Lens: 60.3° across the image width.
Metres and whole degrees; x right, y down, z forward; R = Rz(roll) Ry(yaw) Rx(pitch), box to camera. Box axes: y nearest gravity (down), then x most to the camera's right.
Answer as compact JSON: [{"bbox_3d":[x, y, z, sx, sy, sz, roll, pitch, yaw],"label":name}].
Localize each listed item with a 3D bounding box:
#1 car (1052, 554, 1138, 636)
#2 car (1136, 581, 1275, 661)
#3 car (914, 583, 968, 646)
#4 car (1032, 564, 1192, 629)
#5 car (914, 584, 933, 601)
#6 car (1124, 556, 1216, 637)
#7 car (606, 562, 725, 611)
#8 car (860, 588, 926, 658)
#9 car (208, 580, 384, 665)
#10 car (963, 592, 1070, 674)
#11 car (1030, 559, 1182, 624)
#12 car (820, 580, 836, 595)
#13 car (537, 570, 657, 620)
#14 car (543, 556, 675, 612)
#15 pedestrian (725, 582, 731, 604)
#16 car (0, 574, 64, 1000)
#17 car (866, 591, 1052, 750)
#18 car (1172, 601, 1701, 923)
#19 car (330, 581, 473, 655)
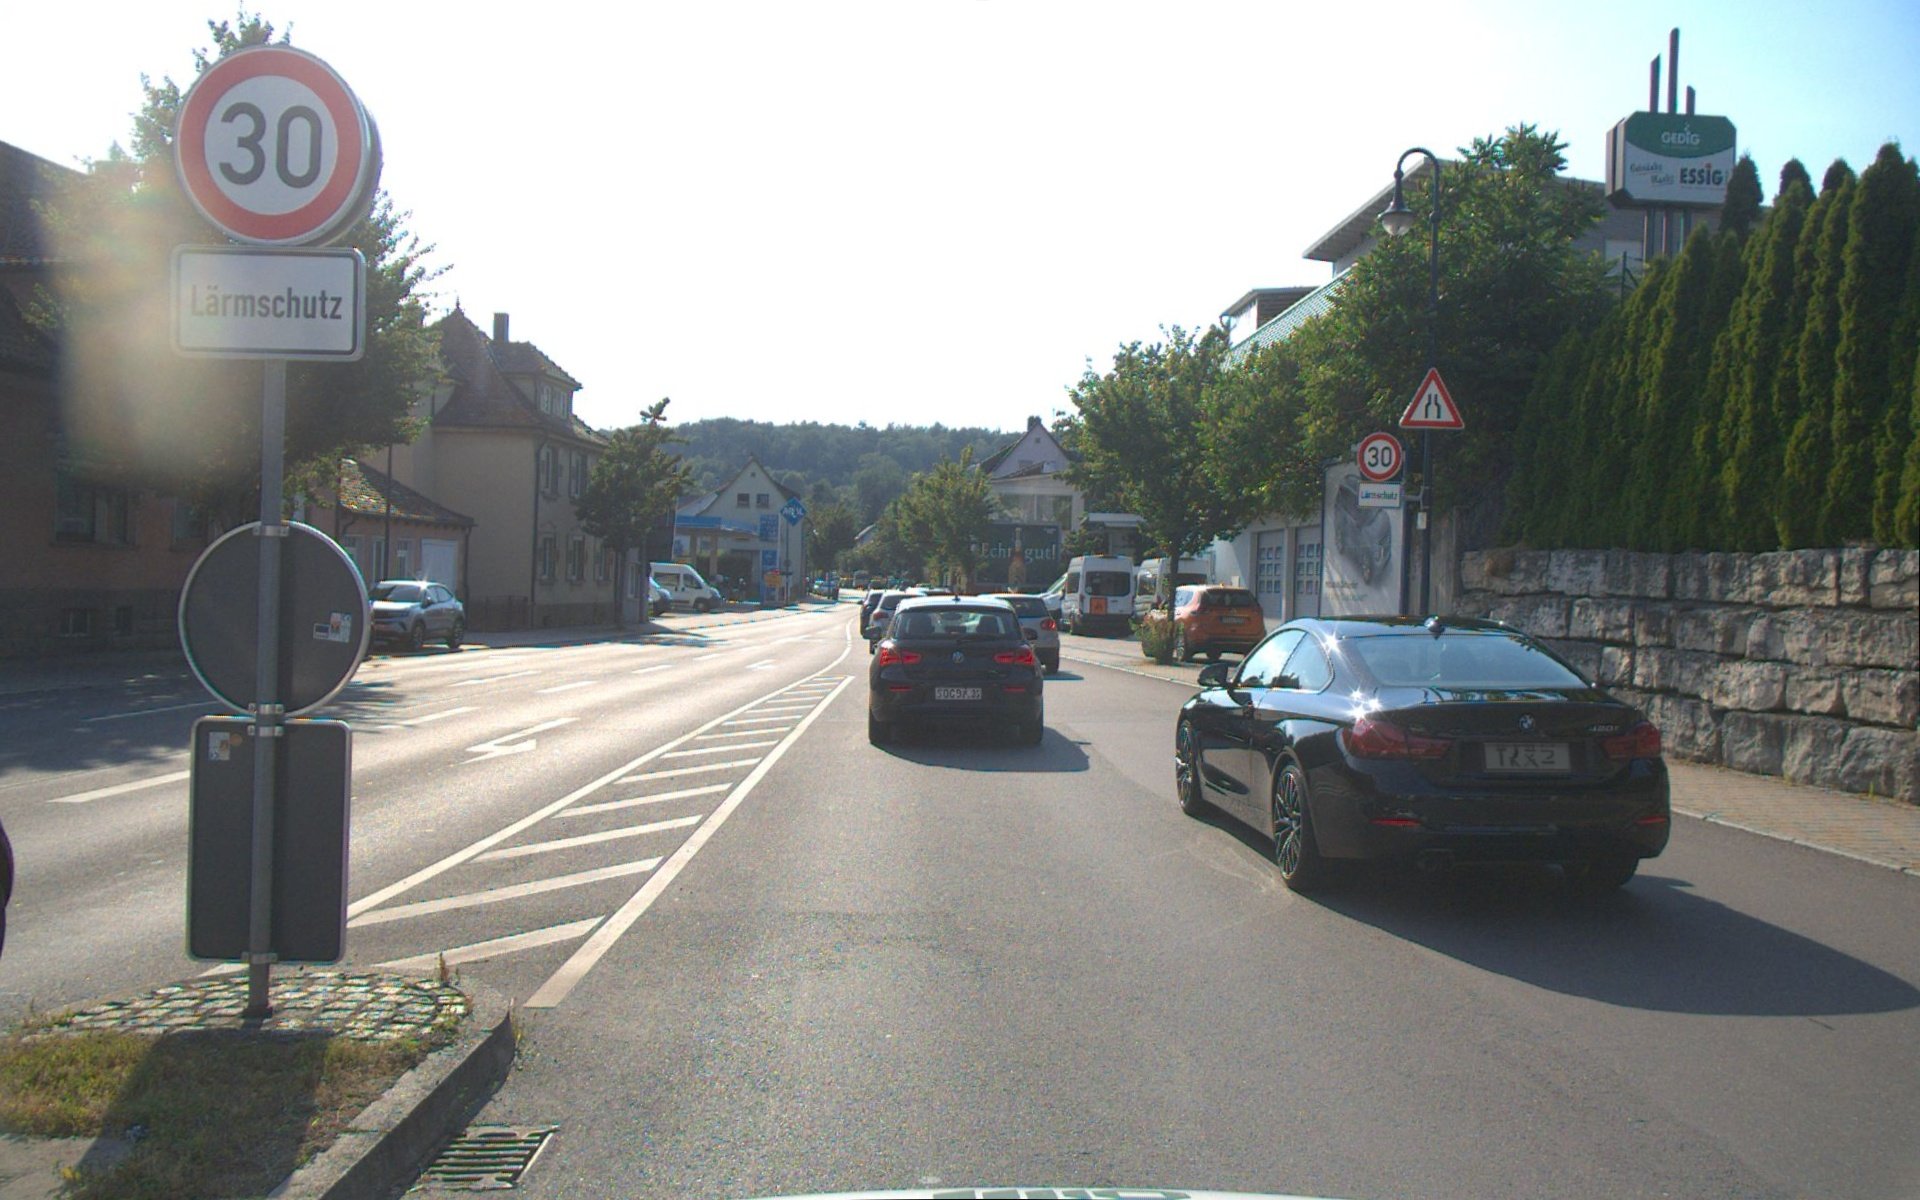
[{"bbox_3d":[4.738,-0.221,59.060,2.107,2.727,6.598,1,1,-4],"label":"car"},{"bbox_3d":[5.464,0.432,37.410,1.801,1.678,4.528,1,0,-10],"label":"car"},{"bbox_3d":[-0.562,0.410,50.416,1.570,1.798,3.411,1,1,0],"label":"car"},{"bbox_3d":[5.847,-0.139,64.126,5.925,2.404,2.042,1,1,-5],"label":"car"},{"bbox_3d":[-3.456,-0.709,155.755,1.565,1.511,3.472,1,1,-3],"label":"car"},{"bbox_3d":[7.499,-0.175,59.726,2.070,2.769,6.438,1,1,-4],"label":"car"},{"bbox_3d":[-15.952,-0.742,89.710,6.035,2.487,2.248,2,1,-2],"label":"car"},{"bbox_3d":[-1.627,0.536,41.281,1.559,1.628,3.893,1,1,-1],"label":"car"},{"bbox_3d":[-13.273,0.420,33.329,1.631,1.513,4.002,3,0,4],"label":"car"},{"bbox_3d":[1.039,0.597,32.033,1.719,1.438,3.419,1,1,-4],"label":"car"},{"bbox_3d":[5.911,-0.361,67.305,5.925,2.560,2.042,1,1,-5],"label":"car"},{"bbox_3d":[-13.426,-1.273,168.148,1.565,1.511,3.472,1,1,-3],"label":"car"},{"bbox_3d":[-16.107,-0.247,73.612,4.874,2.034,1.936,2,2,0],"label":"car"},{"bbox_3d":[-16.914,-0.784,79.904,5.797,2.523,2.194,2,1,2],"label":"car"},{"bbox_3d":[-16.911,-0.501,120.685,0.399,1.574,0.432,0,1,-6],"label":"pedestrian"},{"bbox_3d":[-4.114,0.670,4.423,1.501,1.487,3.506,1,1,0],"label":"car"},{"bbox_3d":[-0.042,0.648,17.249,1.736,1.482,3.515,0,0,-1],"label":"car"},{"bbox_3d":[2.477,0.741,9.752,1.666,1.392,4.259,0,1,-4],"label":"car"},{"bbox_3d":[-12.941,0.379,38.595,1.719,1.504,4.002,3,1,3],"label":"car"}]
